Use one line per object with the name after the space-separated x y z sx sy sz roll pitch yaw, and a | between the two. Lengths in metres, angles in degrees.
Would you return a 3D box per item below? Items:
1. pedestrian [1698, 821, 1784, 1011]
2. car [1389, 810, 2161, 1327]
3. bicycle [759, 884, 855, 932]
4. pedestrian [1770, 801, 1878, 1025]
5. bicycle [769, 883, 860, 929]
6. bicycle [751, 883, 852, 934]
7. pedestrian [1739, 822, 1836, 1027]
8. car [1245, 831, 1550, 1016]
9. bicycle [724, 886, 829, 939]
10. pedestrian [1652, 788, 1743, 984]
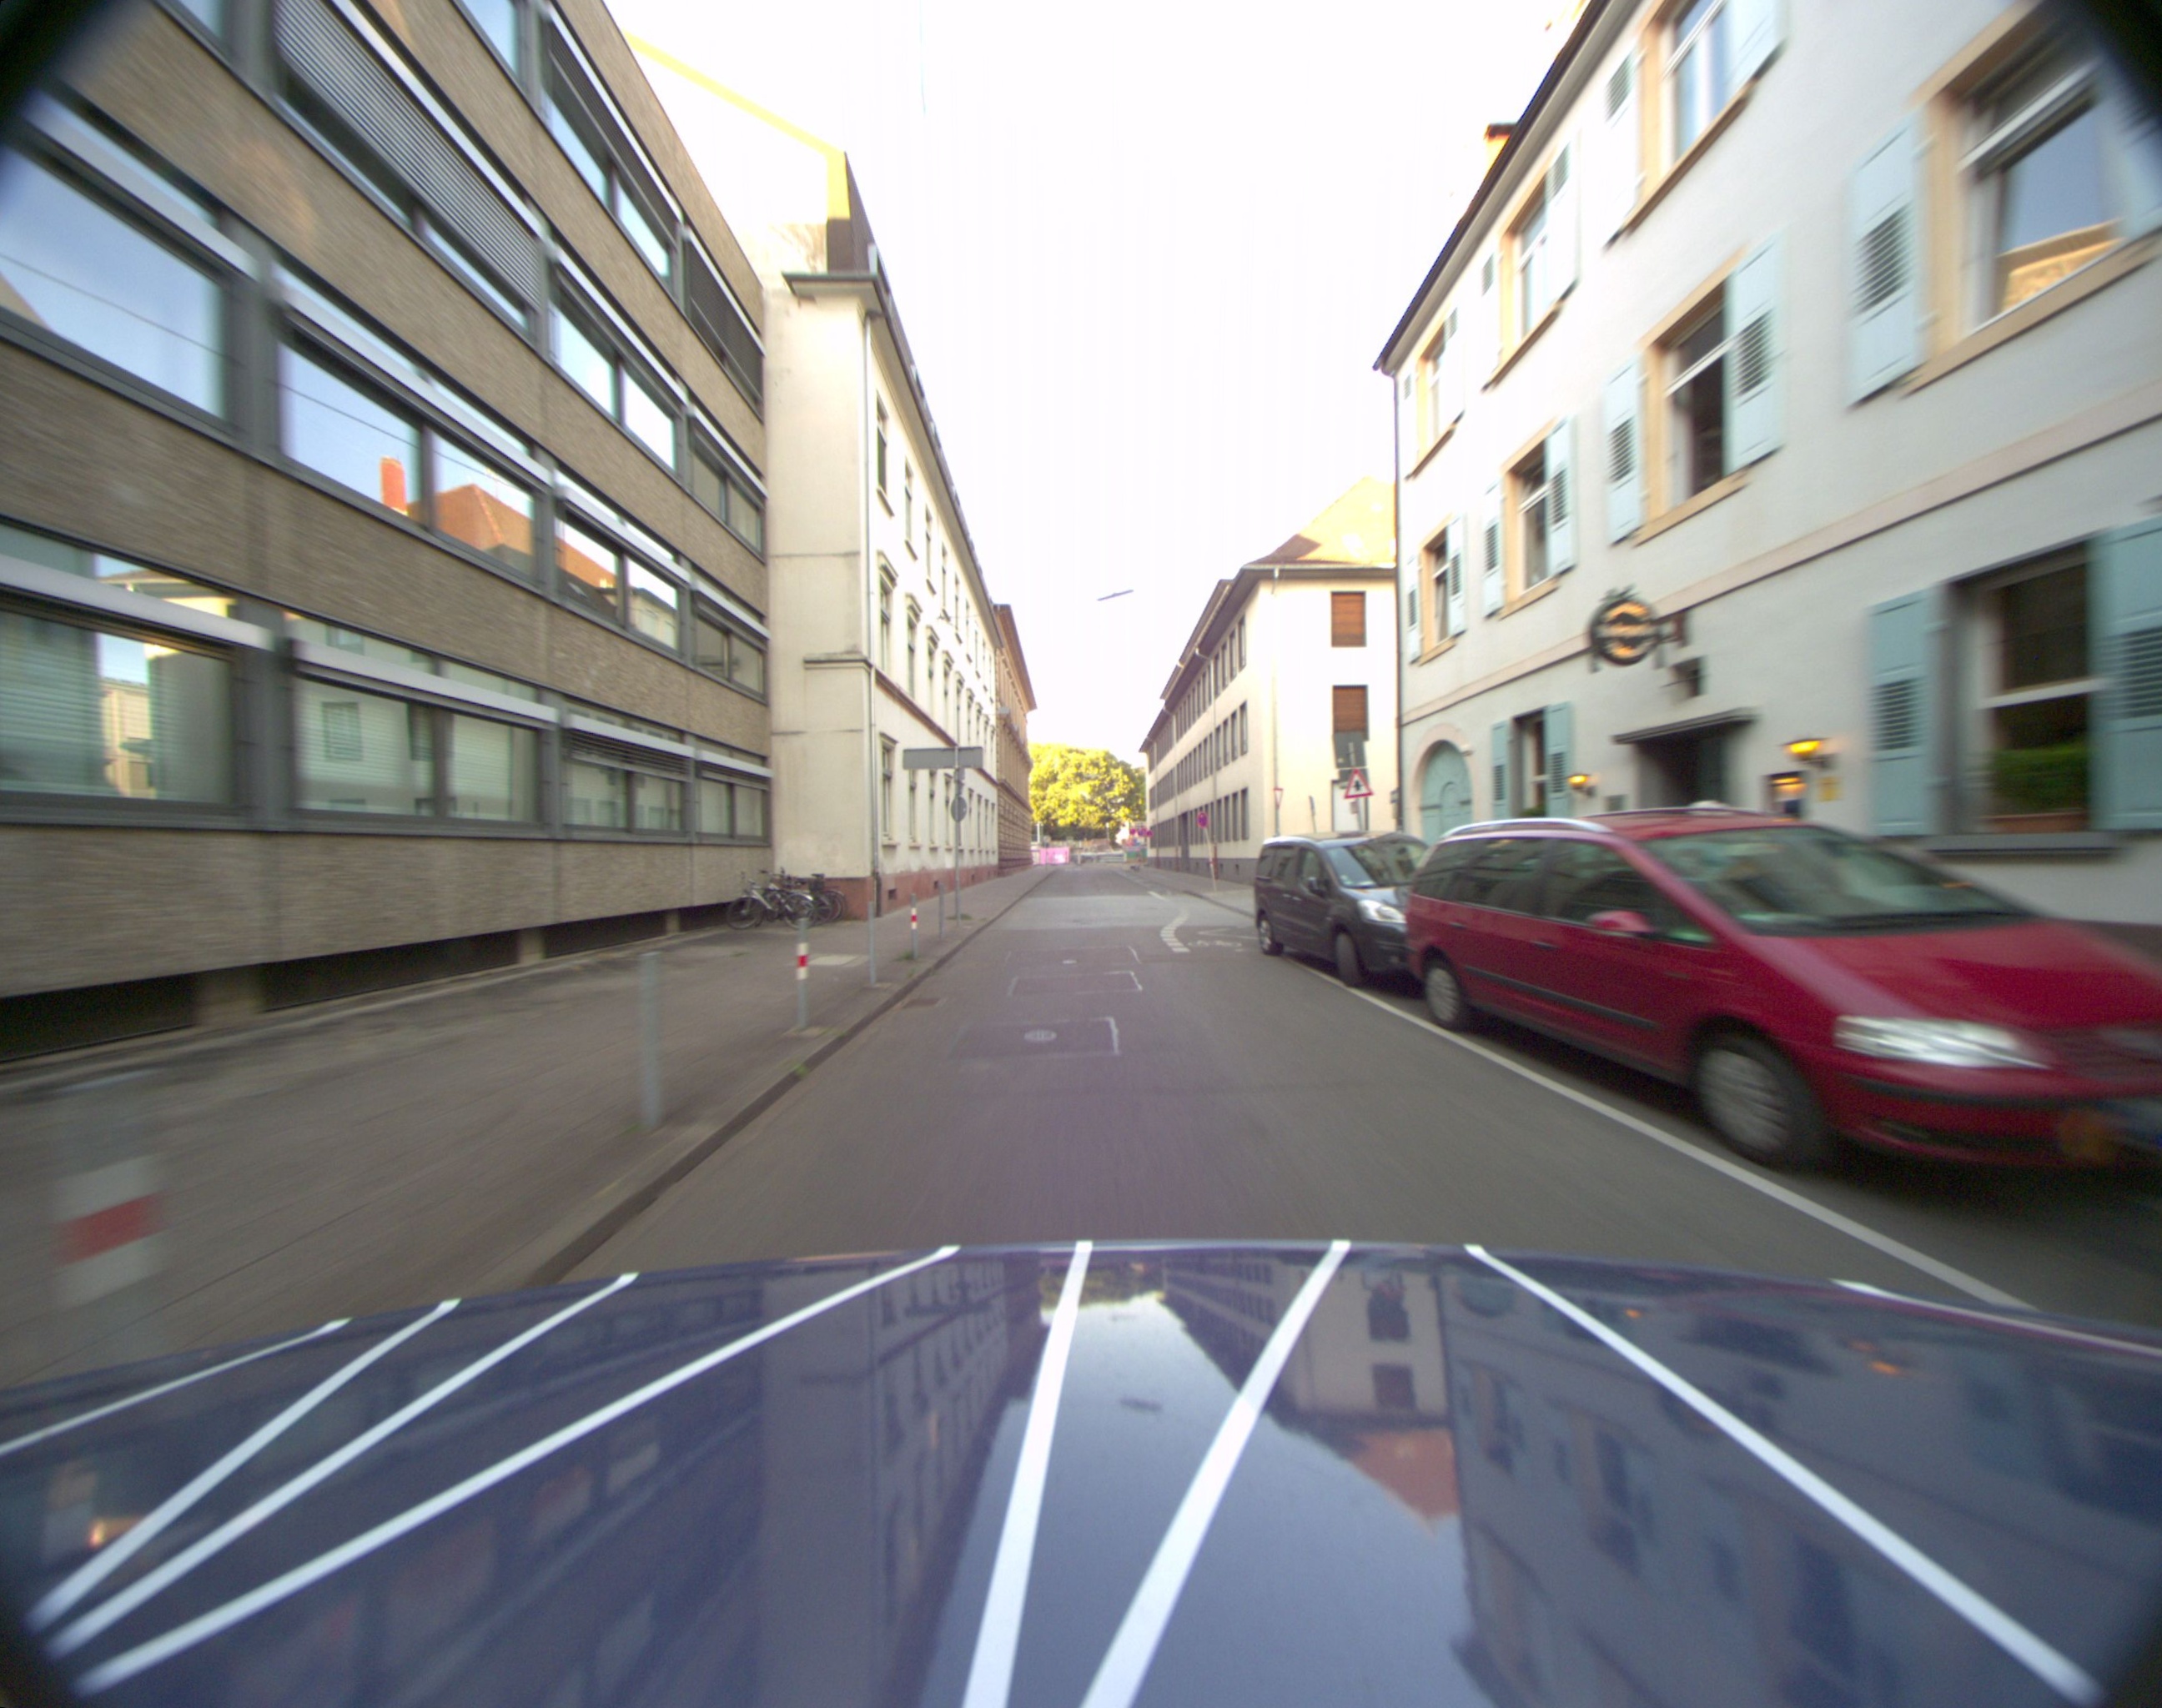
6.269 0.571 7.234 0.407 1.740 0.470 -1 1 1 | pedestrian
3.871 0.725 4.943 1.777 1.800 4.509 -2 1 -1 | car
-5.758 1.134 16.040 1.801 0.917 0.516 -2 1 -8 | bicycle
5.994 0.462 6.145 0.407 1.740 0.470 -1 1 1 | pedestrian
-5.817 1.130 16.609 1.800 0.917 0.396 -1 1 -4 | bicycle
-5.592 1.090 15.283 1.801 0.917 0.538 -2 1 -8 | bicycle
6.209 0.600 6.691 0.407 1.740 0.470 -1 1 1 | pedestrian
3.670 0.679 9.849 1.882 1.800 4.449 -2 1 -3 | car
-5.772 1.102 14.467 1.745 0.917 0.538 -2 1 -7 | bicycle
5.694 0.286 7.032 0.450 1.740 0.470 -1 1 1 | pedestrian
